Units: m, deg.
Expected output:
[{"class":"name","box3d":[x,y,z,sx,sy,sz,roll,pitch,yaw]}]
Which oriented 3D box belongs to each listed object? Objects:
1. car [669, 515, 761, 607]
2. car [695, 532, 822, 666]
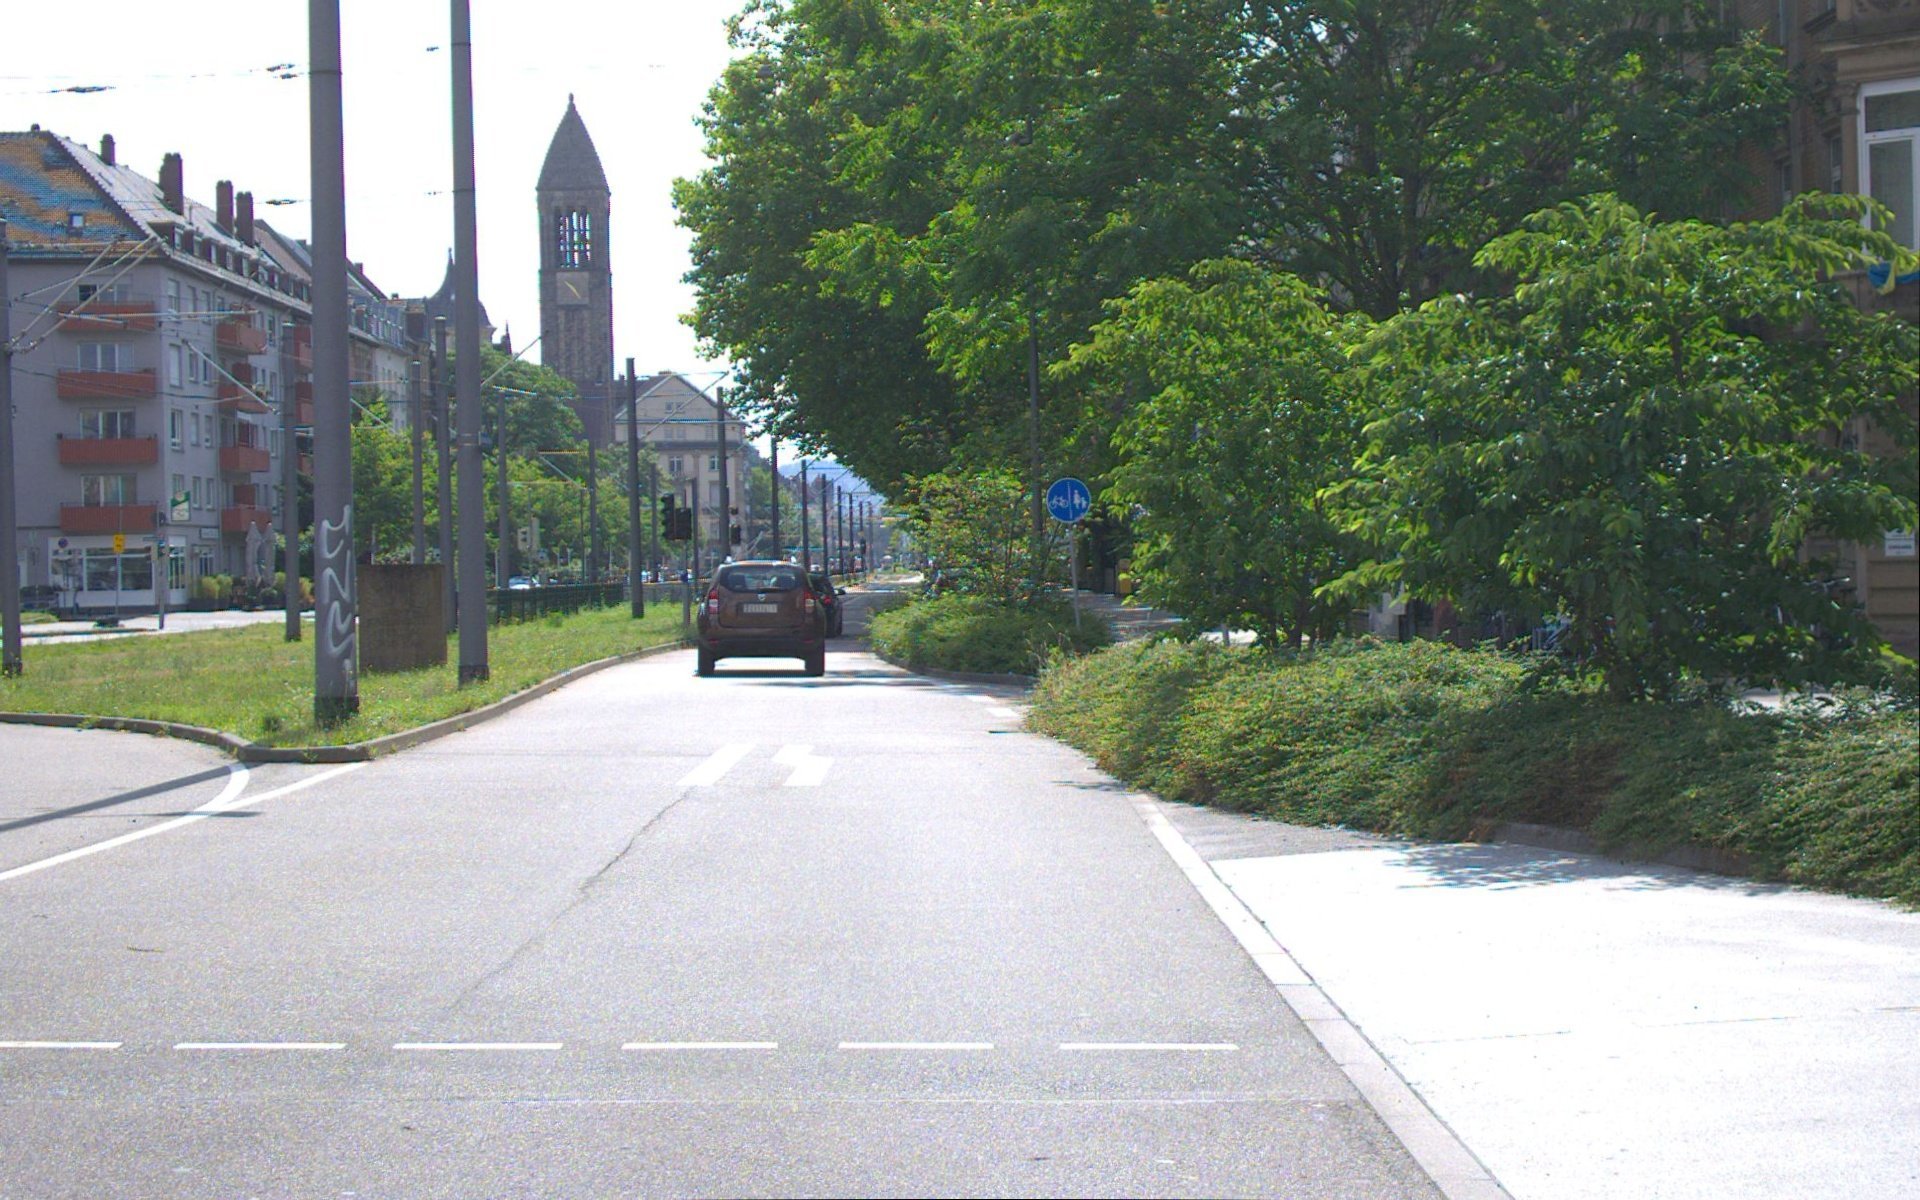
[{"class":"car","box3d":[-5.599,-0.895,78.995,1.993,2.007,4.001,-2,1,-3]},{"class":"car","box3d":[-2.851,-0.051,49.250,1.689,1.705,3.610,-1,3,-2]}]
